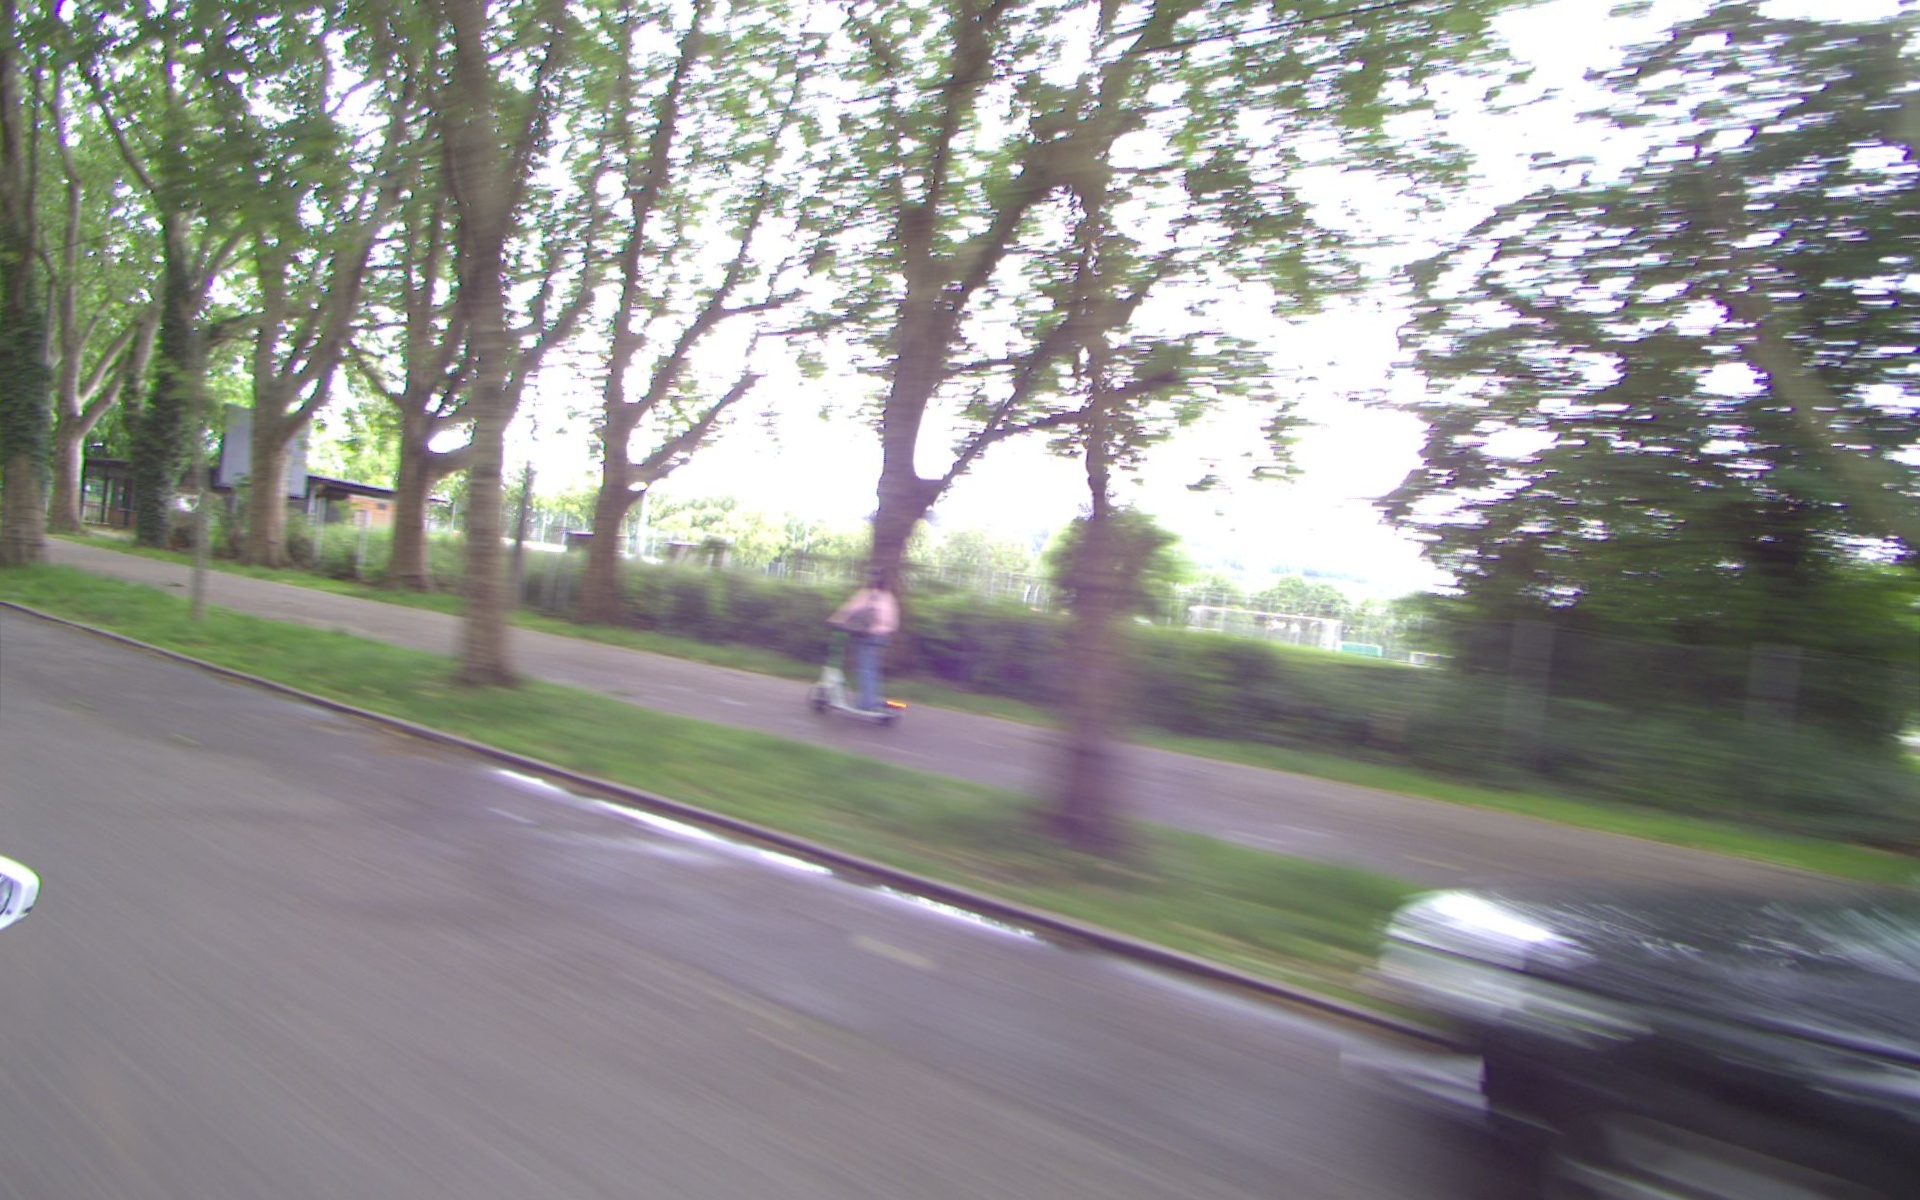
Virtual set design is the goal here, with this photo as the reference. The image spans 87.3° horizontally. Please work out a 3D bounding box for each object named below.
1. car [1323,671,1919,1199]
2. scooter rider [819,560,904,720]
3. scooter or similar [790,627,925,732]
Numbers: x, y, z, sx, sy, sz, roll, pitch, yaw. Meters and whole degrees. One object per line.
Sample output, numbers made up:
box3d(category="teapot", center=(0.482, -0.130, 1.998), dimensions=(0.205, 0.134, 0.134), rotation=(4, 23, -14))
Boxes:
box3d(category="car", center=(3.467, 1.256, 2.645), dimensions=(4.299, 1.495, 1.997), rotation=(7, -2, 32))
box3d(category="scooter rider", center=(-1.182, 0.475, 12.145), dimensions=(0.577, 1.824, 0.676), rotation=(7, 3, 32))
box3d(category="scooter or similar", center=(-1.253, 0.928, 12.184), dimensions=(1.442, 1.052, 0.680), rotation=(7, 3, 32))
